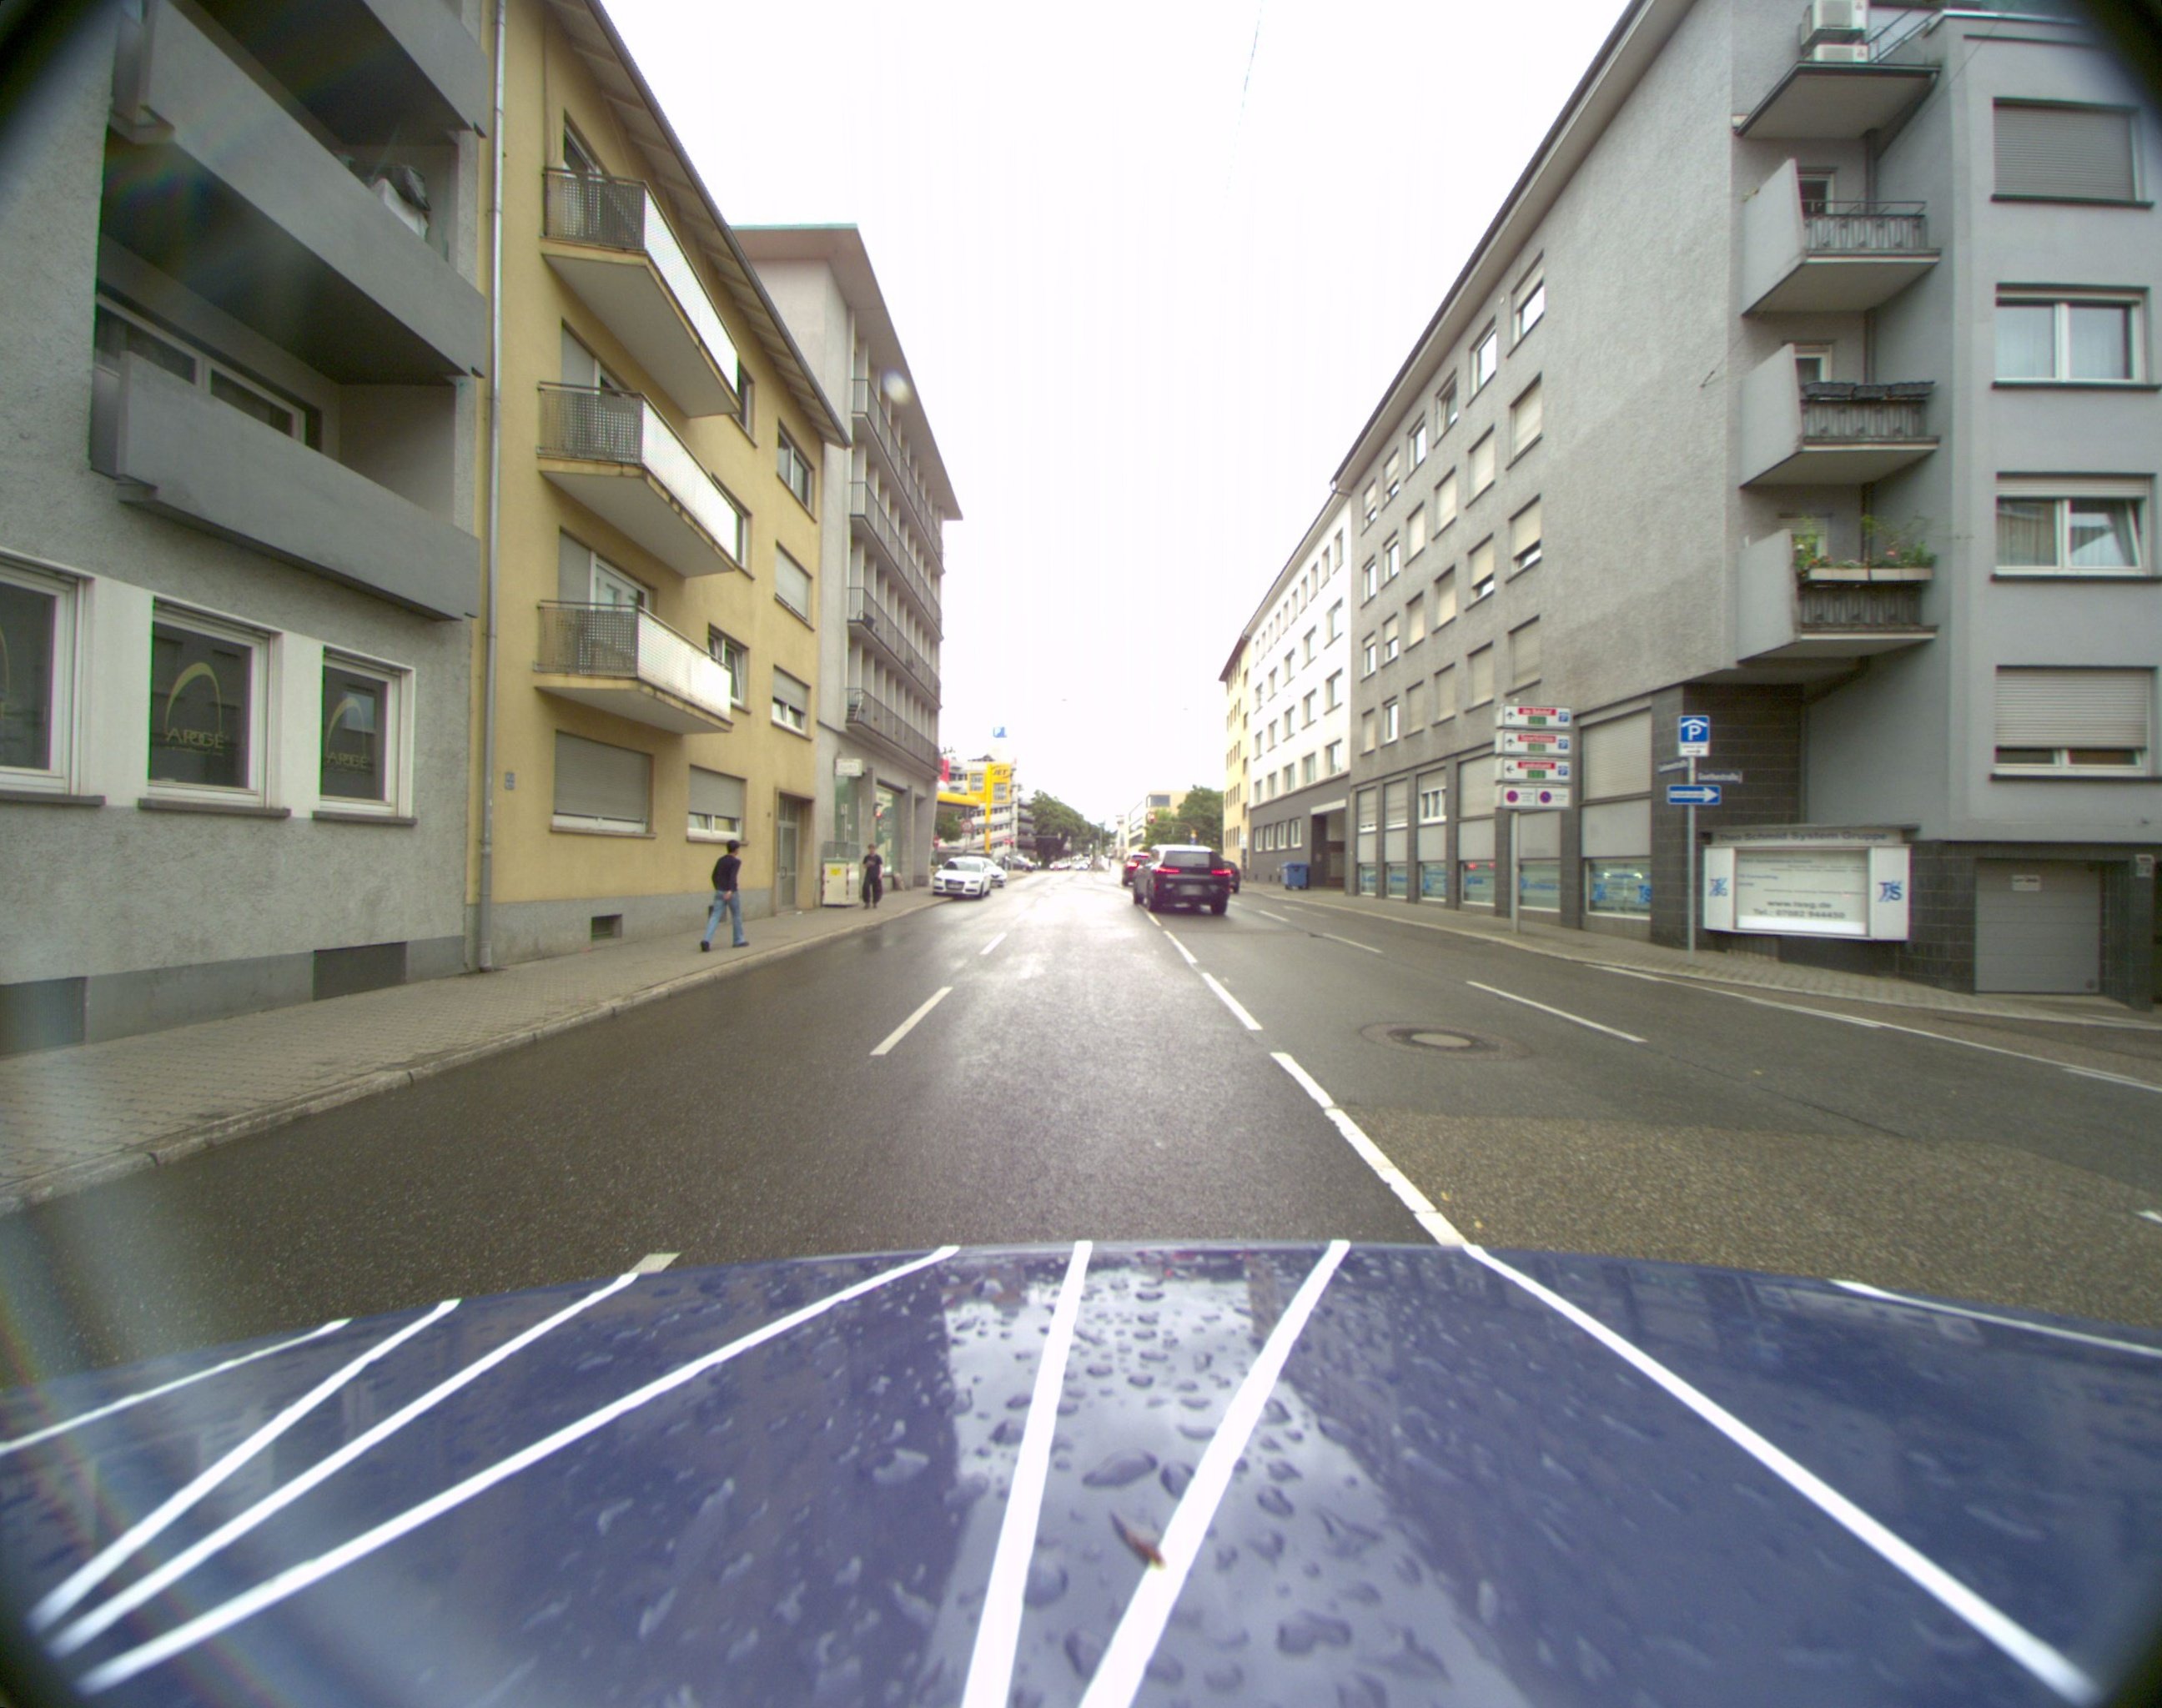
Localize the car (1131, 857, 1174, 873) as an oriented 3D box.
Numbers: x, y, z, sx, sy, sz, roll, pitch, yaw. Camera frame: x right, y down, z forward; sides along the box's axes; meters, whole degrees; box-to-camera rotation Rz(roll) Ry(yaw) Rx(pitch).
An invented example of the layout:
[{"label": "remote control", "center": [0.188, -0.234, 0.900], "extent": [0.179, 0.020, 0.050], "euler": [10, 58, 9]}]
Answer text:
[{"label": "car", "center": [6.847, 1.053, 72.848], "extent": [3.996, 1.499, 1.738], "euler": [1, 1, 2]}]

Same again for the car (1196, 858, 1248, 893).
[{"label": "car", "center": [6.764, 0.984, 36.930], "extent": [1.707, 1.498, 4.159], "euler": [3, 0, 0]}]

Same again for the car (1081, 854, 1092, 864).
[{"label": "car", "center": [1.062, 0.960, 153.121], "extent": [1.999, 1.736, 3.998], "euler": [-2, 1, -2]}]

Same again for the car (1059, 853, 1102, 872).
[{"label": "car", "center": [0.006, 0.812, 76.074], "extent": [3.994, 1.751, 2.001], "euler": [1, 1, 9]}]

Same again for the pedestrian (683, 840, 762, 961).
[{"label": "pedestrian", "center": [-5.565, 0.694, 11.853], "extent": [0.644, 1.768, 1.056], "euler": [3, 1, 0]}]

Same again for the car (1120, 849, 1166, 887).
[{"label": "car", "center": [3.043, 0.648, 38.093], "extent": [1.841, 1.717, 4.474], "euler": [3, 0, 0]}]

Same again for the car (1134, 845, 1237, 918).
[{"label": "car", "center": [2.713, 0.664, 20.905], "extent": [2.132, 1.711, 4.817], "euler": [2, 0, 0]}]

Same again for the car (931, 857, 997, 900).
[{"label": "car", "center": [-4.370, 0.876, 29.075], "extent": [1.803, 1.427, 4.166], "euler": [1, 0, 1]}]

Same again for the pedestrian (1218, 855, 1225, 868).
[{"label": "pedestrian", "center": [12.941, 0.668, 69.958], "extent": [0.582, 1.143, 0.407], "euler": [3, 1, 2]}]

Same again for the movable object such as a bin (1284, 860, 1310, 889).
[{"label": "movable object such as a bin", "center": [10.440, 0.985, 36.769], "extent": [0.946, 1.325, 1.096], "euler": [-3, 1, 1]}]

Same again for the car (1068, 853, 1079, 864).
[{"label": "car", "center": [-1.392, 0.901, 148.592], "extent": [1.998, 2.002, 3.999], "euler": [-2, 1, 0]}]

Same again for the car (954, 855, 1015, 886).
[{"label": "car", "center": [-5.014, 0.830, 39.032], "extent": [1.774, 1.465, 3.991], "euler": [-3, 0, -28]}]

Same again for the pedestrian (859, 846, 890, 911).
[{"label": "pedestrian", "center": [-5.715, 0.659, 21.049], "extent": [0.679, 1.745, 0.887], "euler": [1, 1, -7]}]

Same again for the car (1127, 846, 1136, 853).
[{"label": "car", "center": [12.854, -1.133, 192.900], "extent": [1.998, 1.683, 4.000], "euler": [-2, 1, 2]}]

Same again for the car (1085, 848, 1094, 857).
[{"label": "car", "center": [2.054, -0.272, 178.942], "extent": [1.998, 2.002, 3.999], "euler": [-2, 1, 1]}]
